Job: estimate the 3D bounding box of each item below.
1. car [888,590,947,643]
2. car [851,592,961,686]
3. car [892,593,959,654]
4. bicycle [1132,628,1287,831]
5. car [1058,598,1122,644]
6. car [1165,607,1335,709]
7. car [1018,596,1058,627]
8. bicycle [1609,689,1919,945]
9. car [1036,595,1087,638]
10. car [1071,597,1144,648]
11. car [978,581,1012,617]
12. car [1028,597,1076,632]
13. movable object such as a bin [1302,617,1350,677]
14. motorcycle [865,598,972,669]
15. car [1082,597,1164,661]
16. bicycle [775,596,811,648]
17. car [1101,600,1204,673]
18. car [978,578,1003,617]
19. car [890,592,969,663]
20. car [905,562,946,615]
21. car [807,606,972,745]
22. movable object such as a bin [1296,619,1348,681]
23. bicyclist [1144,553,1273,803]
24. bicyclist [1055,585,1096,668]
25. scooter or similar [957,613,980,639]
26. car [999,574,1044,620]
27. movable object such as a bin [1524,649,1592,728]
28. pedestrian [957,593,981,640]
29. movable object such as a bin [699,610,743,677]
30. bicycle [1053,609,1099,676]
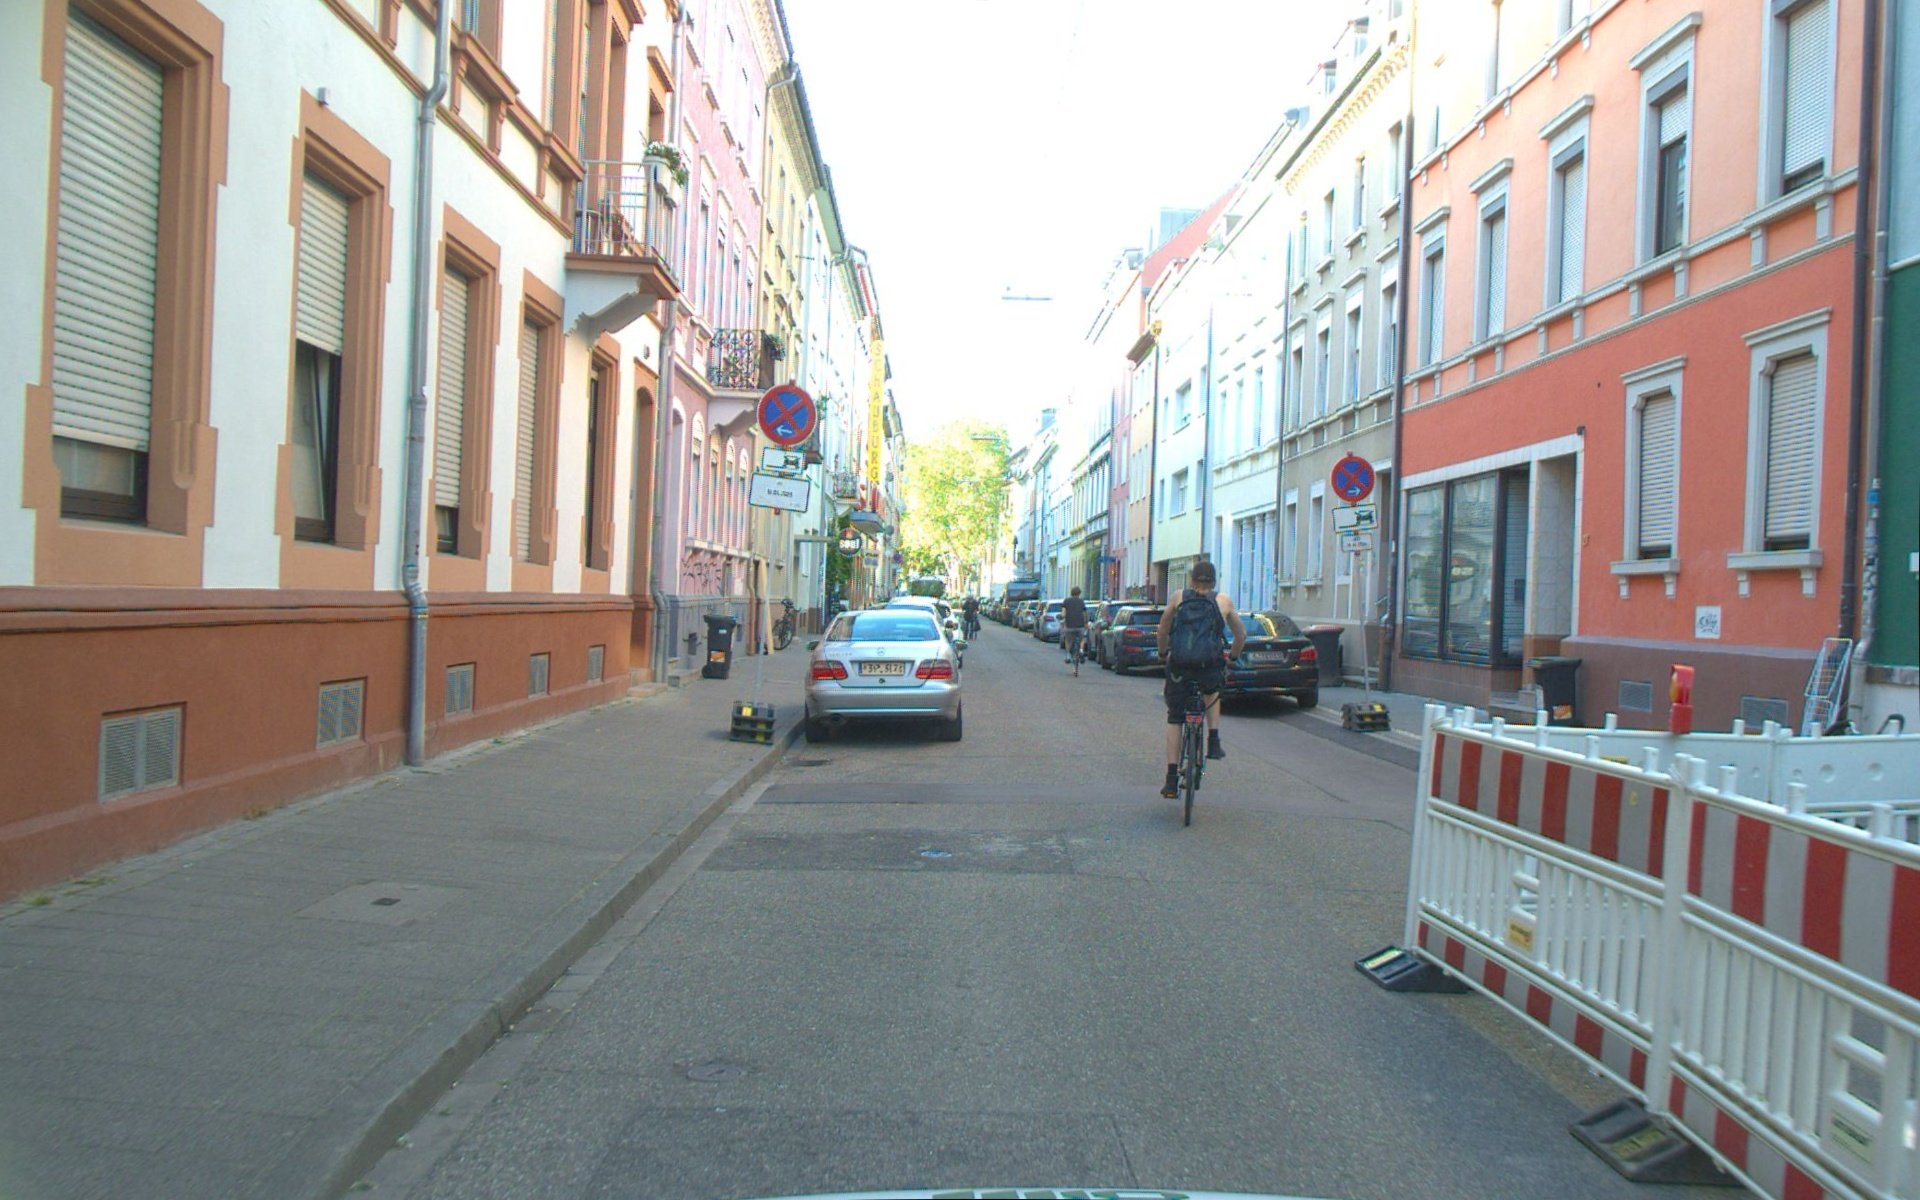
[{"bbox_3d":[-1.202,0.451,47.629,1.638,1.467,3.753,0,0,-1],"label":"car"},{"bbox_3d":[-0.887,0.630,29.338,1.675,1.407,4.357,2,1,1],"label":"car"},{"bbox_3d":[-0.870,0.569,41.936,1.638,1.467,3.767,0,0,-1],"label":"car"},{"bbox_3d":[1.732,0.858,11.839,0.687,1.229,2.342,2,0,-1],"label":"bicycle"},{"bbox_3d":[4.128,0.651,53.157,1.676,1.407,3.999,0,0,-1],"label":"car"},{"bbox_3d":[4.477,0.842,26.210,1.780,1.463,4.789,0,0,-1],"label":"car"},{"bbox_3d":[3.731,0.555,79.413,1.676,1.473,3.999,0,0,-1],"label":"car"},{"bbox_3d":[4.274,1.076,8.247,1.815,1.129,0.642,3,-1,-8],"label":"bicycle"},{"bbox_3d":[3.817,0.605,62.689,1.587,1.577,3.999,0,0,-1],"label":"car"},{"bbox_3d":[4.204,0.634,47.706,1.676,1.407,3.999,0,0,-1],"label":"car"},{"bbox_3d":[2.524,-0.048,120.596,2.261,2.582,6.768,0,0,-1],"label":"car"},{"bbox_3d":[3.762,0.585,67.873,1.676,1.418,3.999,0,0,-1],"label":"car"},{"bbox_3d":[6.891,0.877,31.154,0.790,1.094,0.678,-1,0,4],"label":"movable object such as a bin"},{"bbox_3d":[-0.835,0.661,33.515,2.114,1.383,0.537,-1,1,-19],"label":"motorcycle"},{"bbox_3d":[4.167,0.716,42.812,1.676,1.583,3.999,0,0,-1],"label":"car"},{"bbox_3d":[-3.791,0.486,37.639,0.580,1.107,2.078,3,0,-1],"label":"bicycle"},{"bbox_3d":[4.234,0.774,36.988,1.780,1.548,3.999,0,0,-1],"label":"car"},{"bbox_3d":[3.095,-0.236,167.988,2.261,3.834,6.768,0,0,-1],"label":"car"},{"bbox_3d":[-0.660,0.580,36.314,1.638,1.467,4.164,0,0,-1],"label":"car"},{"bbox_3d":[-1.771,-0.575,83.676,1.871,2.540,4.163,1,0,-3],"label":"car"},{"bbox_3d":[-0.751,0.774,19.004,1.676,1.407,4.504,0,0,-1],"label":"car"},{"bbox_3d":[6.575,0.899,30.050,0.722,1.094,0.676,-1,0,-8],"label":"movable object such as a bin"},{"bbox_3d":[1.739,0.523,11.713,0.687,1.661,1.090,2,0,-1],"label":"bicyclist"},{"bbox_3d":[2.358,0.523,33.745,0.688,1.633,0.812,3,1,-2],"label":"bicyclist"},{"bbox_3d":[0.307,0.924,58.743,0.755,0.888,0.770,3,0,-1],"label":"scooter or similar"},{"bbox_3d":[3.493,-0.146,95.167,2.261,2.582,6.768,0,0,-1],"label":"car"},{"bbox_3d":[7.196,1.060,19.932,0.585,0.922,0.579,-1,-1,-2],"label":"movable object such as a bin"},{"bbox_3d":[0.319,0.578,59.065,0.755,1.606,0.900,3,-1,-1],"label":"pedestrian"},{"bbox_3d":[-3.554,0.646,24.645,0.532,0.961,0.487,3,-1,0],"label":"movable object such as a bin"},{"bbox_3d":[2.357,0.849,33.864,0.688,1.229,2.342,3,1,-1],"label":"bicycle"}]
